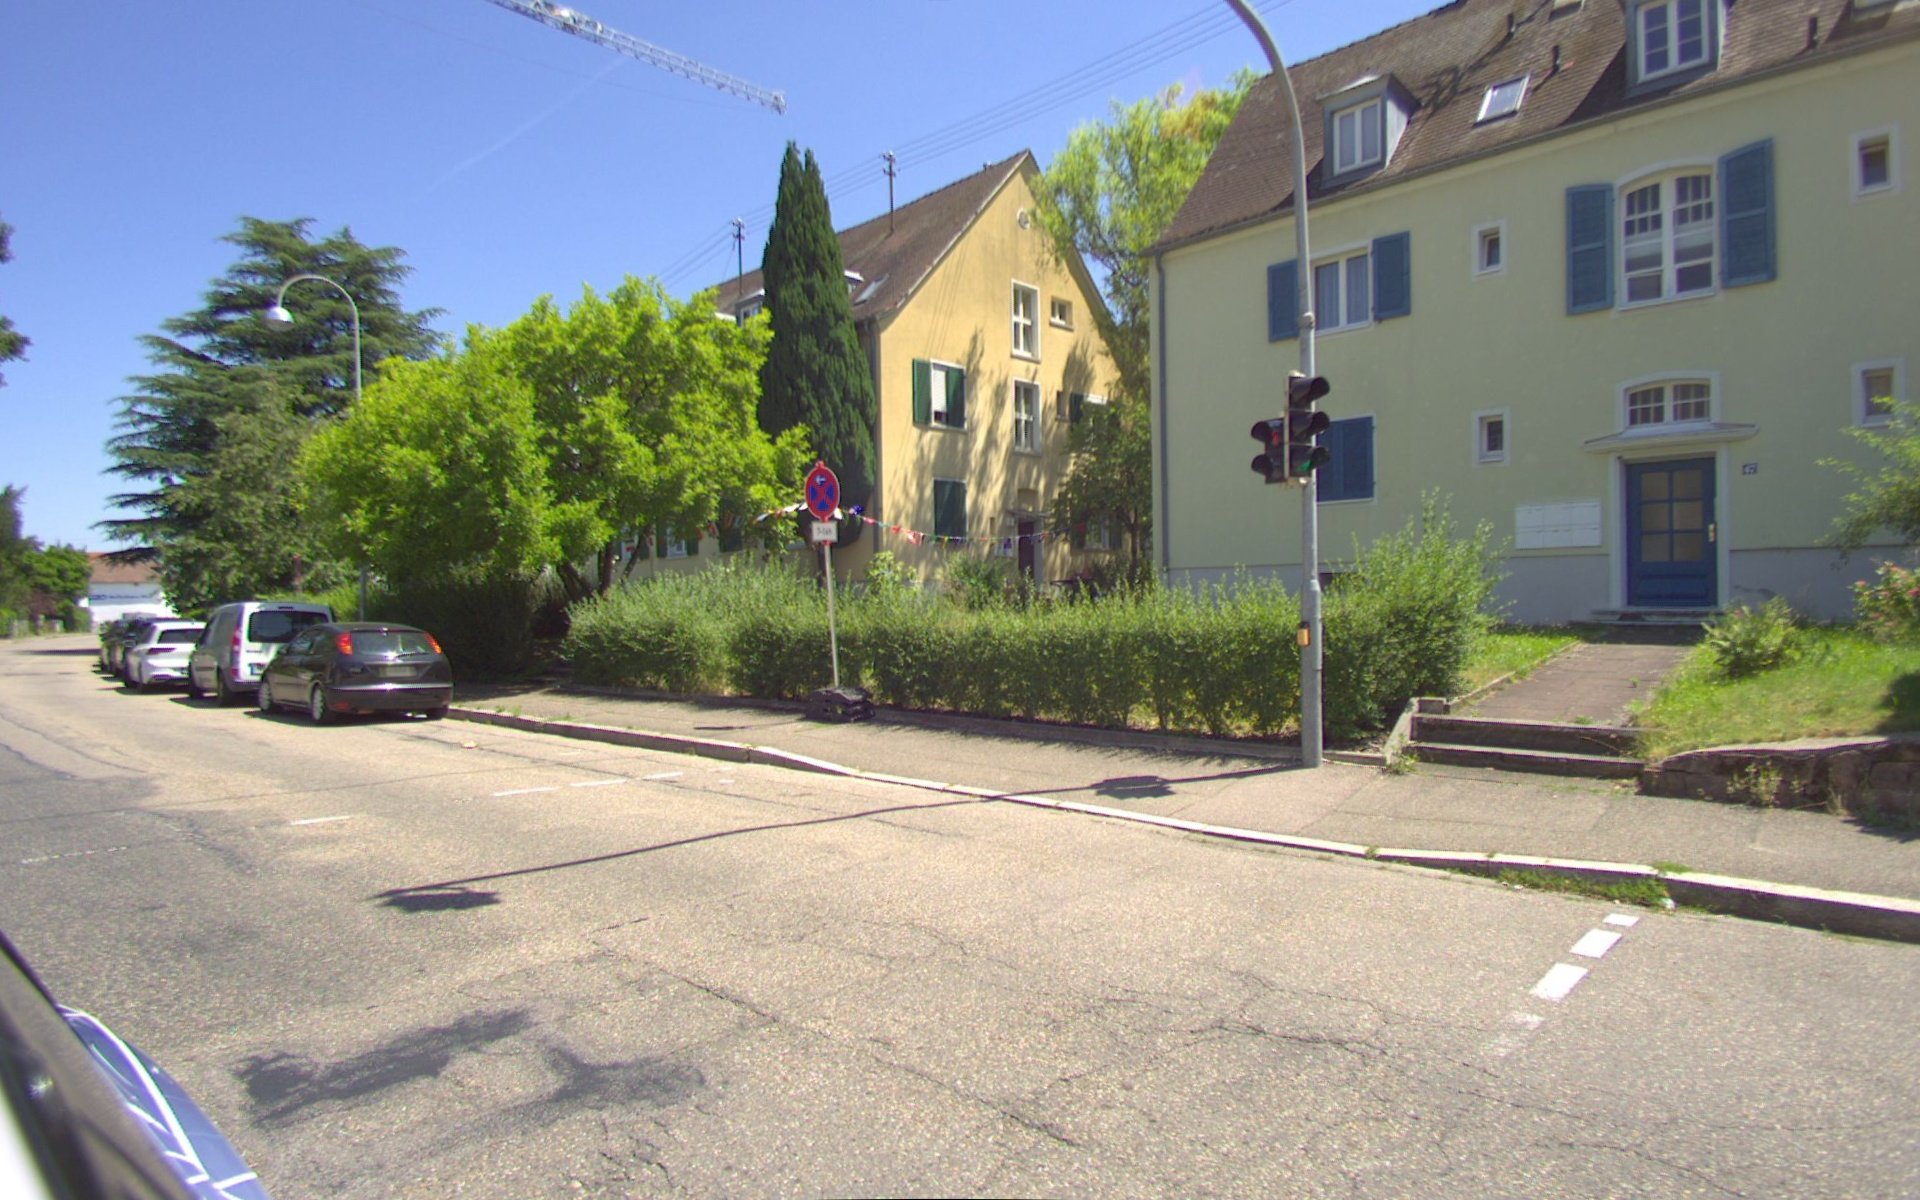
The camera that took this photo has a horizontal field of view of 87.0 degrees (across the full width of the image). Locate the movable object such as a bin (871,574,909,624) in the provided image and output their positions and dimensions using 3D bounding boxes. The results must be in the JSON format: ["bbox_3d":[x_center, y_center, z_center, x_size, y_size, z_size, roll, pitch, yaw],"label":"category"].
[{"bbox_3d":[-1.727,-0.021,24.939,0.674,1.205,0.614,-2,-1,44],"label":"movable object such as a bin"}]

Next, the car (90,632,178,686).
[{"bbox_3d":[-25.048,1.732,30.634,1.661,1.487,4.333,2,-2,-44],"label":"car"}]

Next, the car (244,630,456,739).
[{"bbox_3d":[-9.215,1.165,15.178,3.925,1.423,1.663,-2,-2,42],"label":"car"}]

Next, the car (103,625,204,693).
[{"bbox_3d":[-21.432,1.496,26.837,1.661,1.649,4.333,2,-2,-44],"label":"car"}]

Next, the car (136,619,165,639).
[{"bbox_3d":[-72.597,2.581,90.809,1.863,1.772,3.620,2,-2,-36],"label":"car"}]

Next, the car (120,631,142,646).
[{"bbox_3d":[-92.420,4.249,112.834,1.875,1.587,4.149,0,-1,-39],"label":"car"}]

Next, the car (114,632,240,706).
[{"bbox_3d":[-16.996,1.413,21.896,1.661,1.452,4.250,2,-2,-44],"label":"car"}]

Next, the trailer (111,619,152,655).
[{"bbox_3d":[-49.101,2.174,60.017,1.791,2.049,4.007,2,-3,-39],"label":"trailer"}]

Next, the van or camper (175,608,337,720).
[{"bbox_3d":[-12.864,1.097,18.411,3.986,1.818,1.662,-2,-2,44],"label":"van or camper"}]

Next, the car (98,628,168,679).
[{"bbox_3d":[-28.293,1.779,34.581,1.660,1.652,3.794,1,-2,-42],"label":"car"}]
